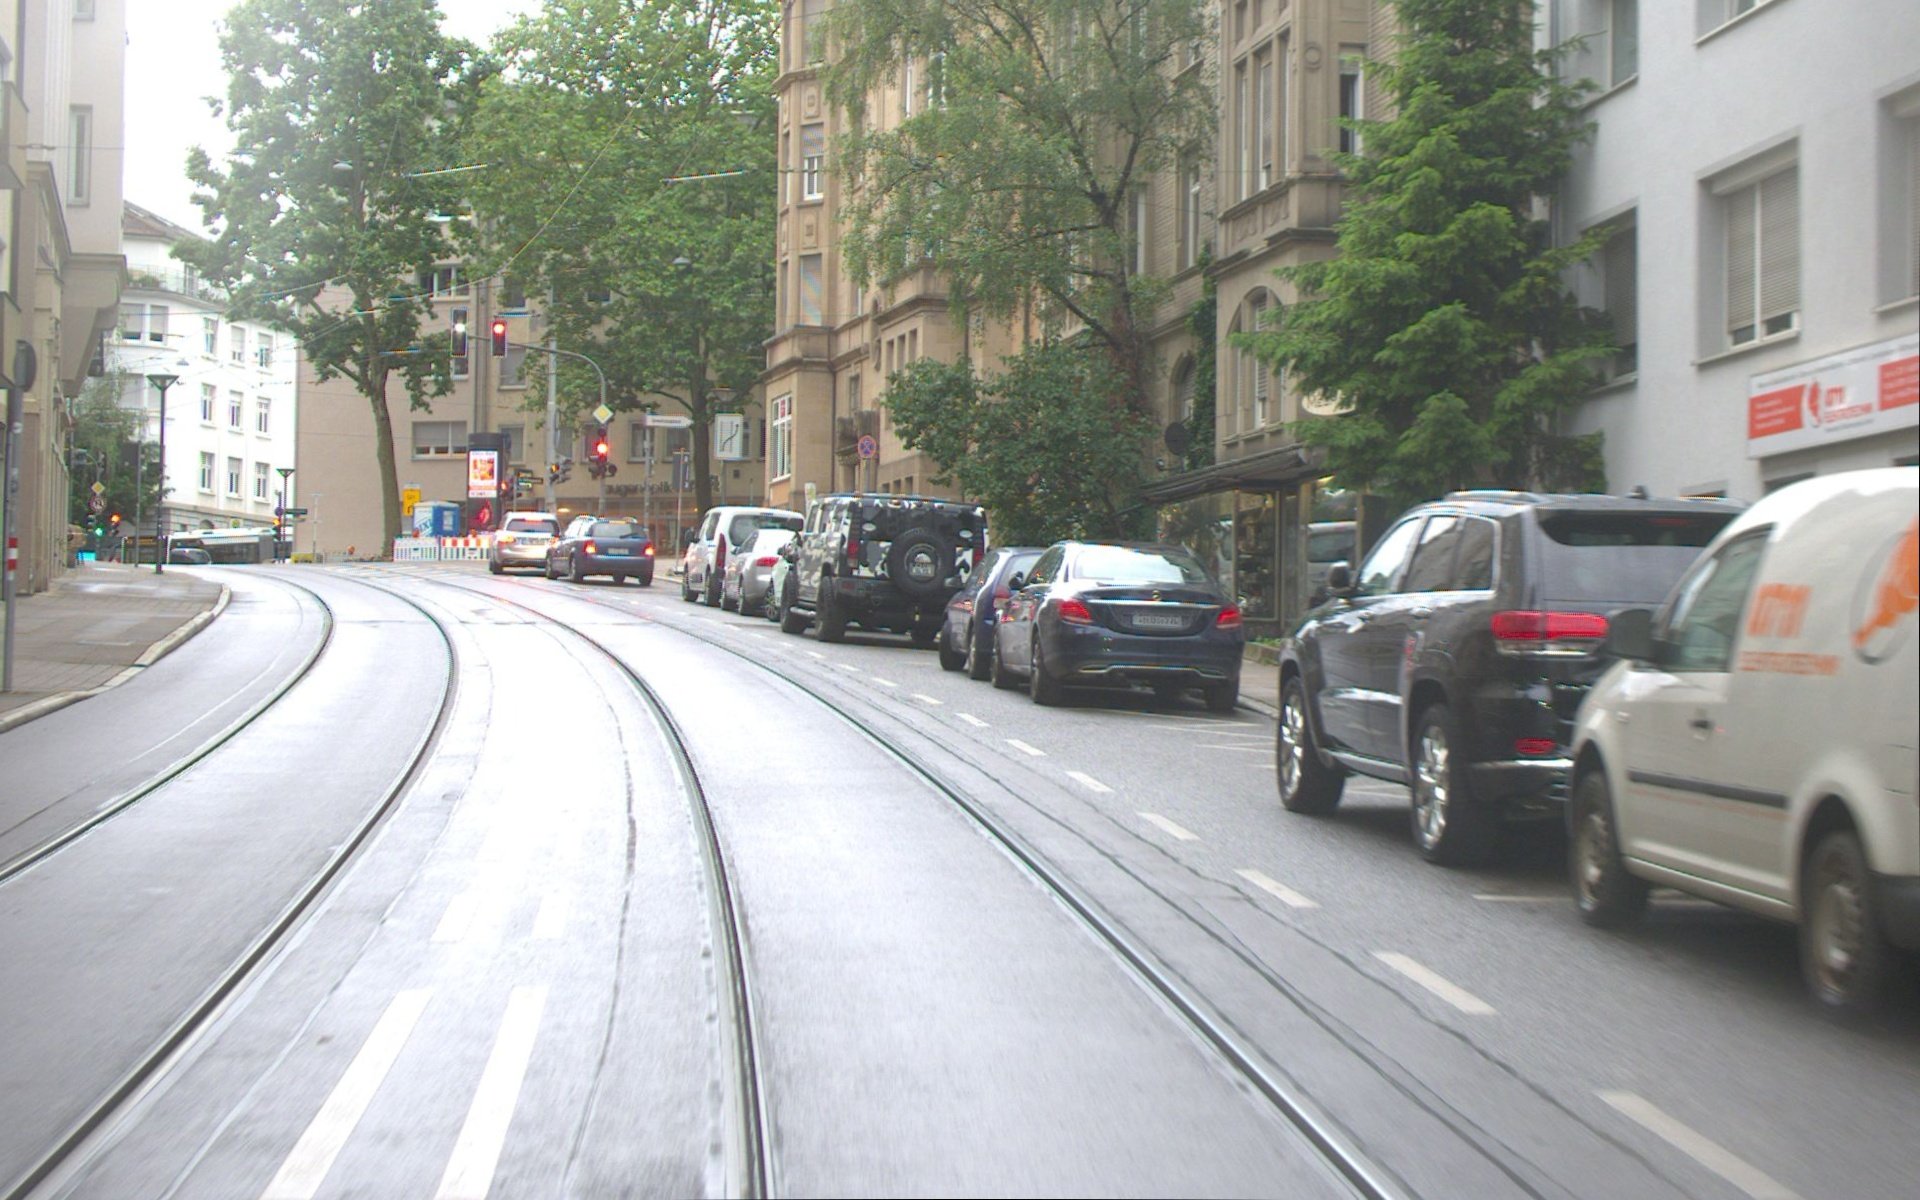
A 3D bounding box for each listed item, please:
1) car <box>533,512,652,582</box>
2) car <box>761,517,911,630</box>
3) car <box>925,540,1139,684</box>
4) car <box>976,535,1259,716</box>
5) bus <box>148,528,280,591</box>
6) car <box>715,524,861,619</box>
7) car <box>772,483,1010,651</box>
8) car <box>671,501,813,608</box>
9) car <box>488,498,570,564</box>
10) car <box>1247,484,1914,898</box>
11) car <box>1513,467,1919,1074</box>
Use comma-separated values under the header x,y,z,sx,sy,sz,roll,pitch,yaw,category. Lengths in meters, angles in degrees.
x,y,z,sx,sy,sz,roll,pitch,yaw,category
-8.085,-1.173,75.338,1.710,1.410,4.038,1,2,-19,car
-1.892,-0.426,51.476,1.559,1.541,3.586,2,1,-13,car
0.694,0.085,35.753,1.678,1.333,3.884,1,1,-7,car
1.342,0.173,31.198,1.794,1.432,4.612,1,1,-7,car
-35.510,-1.983,164.050,2.856,2.851,8.729,0,2,12,bus
-2.874,-0.498,56.452,1.748,1.396,4.480,3,1,-11,car
-0.997,-0.490,45.540,2.128,2.007,5.352,2,1,-12,car
-3.936,-0.844,61.525,1.797,1.759,4.464,2,1,-12,car
-10.184,-1.645,81.018,1.710,1.451,3.554,1,2,-10,car
2.954,0.364,17.594,1.942,1.789,4.822,1,1,-7,car
3.491,0.484,12.352,1.778,1.789,4.472,1,1,-6,car
